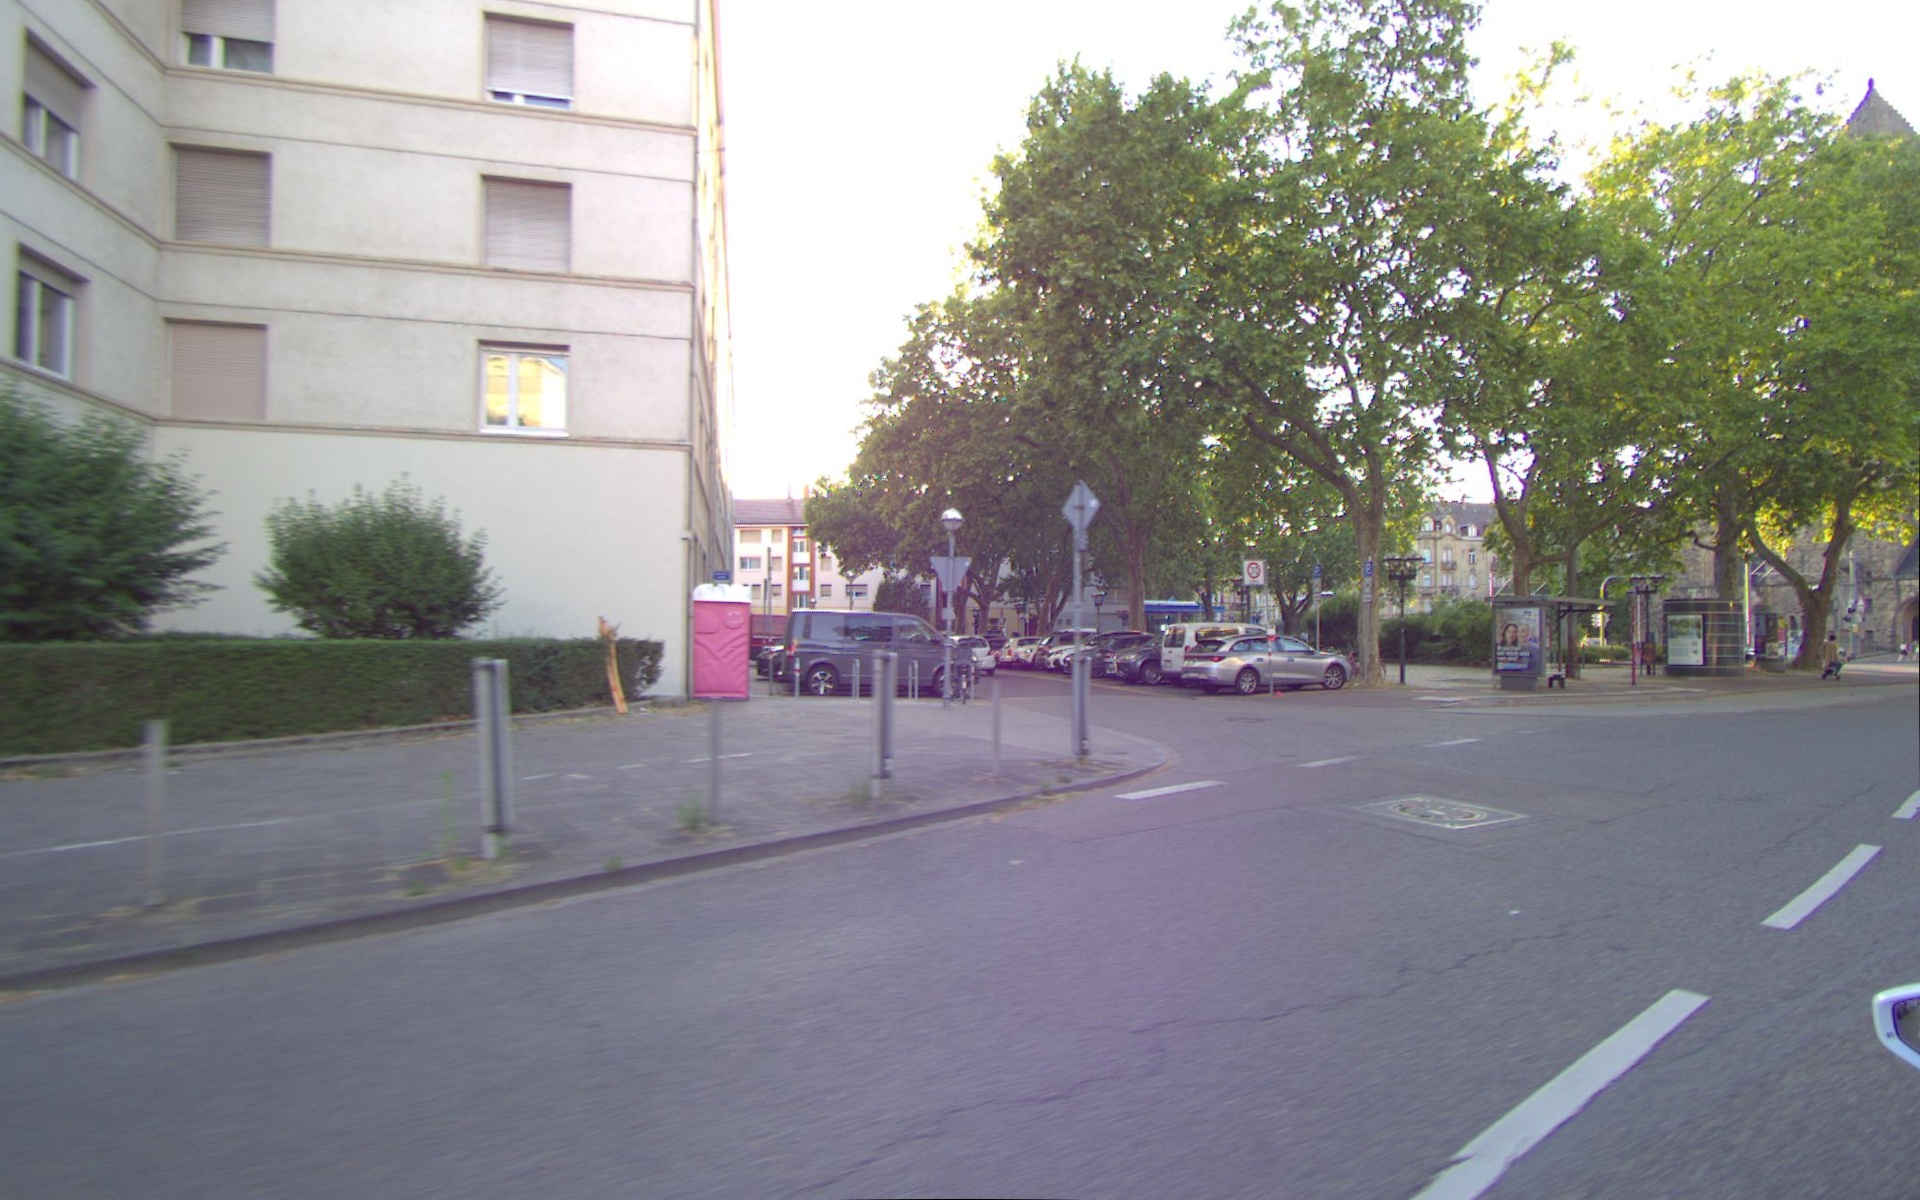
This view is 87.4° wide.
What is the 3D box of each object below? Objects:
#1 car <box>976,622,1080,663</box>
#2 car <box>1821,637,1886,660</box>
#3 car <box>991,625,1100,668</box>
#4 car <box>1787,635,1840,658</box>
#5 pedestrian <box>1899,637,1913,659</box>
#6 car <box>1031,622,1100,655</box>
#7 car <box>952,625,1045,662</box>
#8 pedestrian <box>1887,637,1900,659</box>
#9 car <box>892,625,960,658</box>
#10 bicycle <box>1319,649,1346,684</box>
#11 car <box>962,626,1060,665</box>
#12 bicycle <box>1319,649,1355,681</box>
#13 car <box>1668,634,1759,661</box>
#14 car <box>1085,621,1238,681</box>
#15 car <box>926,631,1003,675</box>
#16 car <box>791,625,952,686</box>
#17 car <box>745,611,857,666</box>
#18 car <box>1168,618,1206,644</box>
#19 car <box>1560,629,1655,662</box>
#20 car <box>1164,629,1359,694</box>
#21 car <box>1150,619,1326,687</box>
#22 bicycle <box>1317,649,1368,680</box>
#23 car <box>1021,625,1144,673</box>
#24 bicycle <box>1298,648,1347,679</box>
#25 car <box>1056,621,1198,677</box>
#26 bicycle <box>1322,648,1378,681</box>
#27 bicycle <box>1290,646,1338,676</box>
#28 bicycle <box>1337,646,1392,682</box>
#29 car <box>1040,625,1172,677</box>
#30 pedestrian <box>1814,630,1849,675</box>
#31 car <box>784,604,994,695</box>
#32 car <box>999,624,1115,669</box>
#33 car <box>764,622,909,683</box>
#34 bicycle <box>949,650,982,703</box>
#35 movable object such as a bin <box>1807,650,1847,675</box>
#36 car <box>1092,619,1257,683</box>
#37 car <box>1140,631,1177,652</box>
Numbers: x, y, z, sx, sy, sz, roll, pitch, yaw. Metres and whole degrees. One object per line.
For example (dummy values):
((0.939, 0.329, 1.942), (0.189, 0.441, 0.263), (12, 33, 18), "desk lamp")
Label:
((3.258, 2.036, 48.428), (4.557, 1.865, 2.077), (0, -2, -17), "car")
((74.361, 4.008, 83.651), (1.684, 1.829, 3.796), (1, -2, -14), "car")
((3.885, 2.094, 46.036), (4.557, 1.865, 2.077), (0, -2, -17), "car")
((74.710, 4.055, 87.982), (3.431, 1.935, 1.710), (1, -2, -9), "car")
((69.134, 3.488, 73.421), (0.541, 1.605, 0.554), (1, -1, -25), "pedestrian")
((7.870, 2.856, 75.025), (4.764, 2.322, 1.995), (2, -2, -14), "car")
((2.033, 2.300, 53.893), (4.557, 1.865, 2.077), (0, -2, -17), "car")
((68.800, 3.531, 74.010), (0.541, 1.605, 0.554), (1, -1, -25), "pedestrian")
((-2.519, 3.082, 75.003), (4.762, 2.370, 1.996), (2, -2, -13), "car")
((11.155, 1.978, 30.140), (0.387, 0.981, 1.505), (0, -2, 6), "bicycle")
((2.573, 2.286, 51.006), (4.557, 1.865, 2.077), (0, -2, -17), "car")
((11.962, 2.047, 31.845), (1.491, 0.981, 0.390), (2, -2, -39), "bicycle")
((47.838, 2.992, 63.870), (1.977, 1.672, 4.232), (1, -2, -30), "car")
((6.644, 1.653, 33.313), (4.552, 1.865, 2.080), (0, -2, -14), "car")
((0.113, 1.967, 37.911), (1.967, 1.539, 3.988), (1, -2, -15), "car")
((-2.545, 1.569, 28.429), (4.265, 1.616, 2.044), (2, -2, -14), "car")
((-7.700, 1.872, 48.575), (5.194, 2.536, 1.996), (2, -2, -13), "car")
((20.923, 2.852, 92.729), (1.897, 2.289, 4.331), (1, -2, -10), "car")
((38.407, 2.658, 59.643), (4.549, 1.865, 2.081), (0, -2, -11), "car")
((7.650, 1.510, 25.520), (4.560, 1.501, 1.817), (0, -2, -20), "car")
((7.951, 1.478, 28.795), (4.552, 1.824, 1.820), (0, -2, -14), "car")
((11.946, 2.013, 31.396), (1.476, 0.981, 0.394), (0, -2, -8), "bicycle")
((4.983, 1.957, 40.966), (4.555, 1.865, 2.078), (0, -2, -16), "car")
((11.690, 2.057, 32.423), (1.476, 0.981, 0.394), (0, -2, -8), "bicycle")
((5.919, 1.720, 35.793), (4.552, 1.865, 2.080), (0, -2, -14), "car")
((12.043, 1.986, 31.008), (1.613, 0.981, 0.408), (0, -2, -8), "bicycle")
((11.605, 2.000, 32.913), (1.476, 0.981, 0.394), (0, -2, -8), "bicycle")
((12.216, 1.931, 30.341), (1.564, 1.088, 0.402), (0, -2, -8), "bicycle")
((5.527, 1.909, 38.343), (4.551, 1.865, 2.080), (0, -2, -13), "car")
((32.471, 1.958, 37.440), (0.675, 1.650, 0.737), (1, -2, -21), "pedestrian")
((-1.736, 1.187, 24.017), (4.762, 1.999, 1.996), (2, -2, -13), "car")
((4.183, 1.998, 43.600), (4.556, 1.865, 2.078), (0, -2, -17), "car")
((-3.865, 1.640, 31.268), (4.265, 1.773, 1.926), (2, -2, -14), "car")
((0.102, 1.607, 21.475), (0.471, 1.056, 1.822), (0, -2, -7), "bicycle")
((31.798, 2.295, 36.829), (0.968, 0.902, 0.737), (1, -2, -21), "movable object such as a bin")
((6.573, 1.537, 30.957), (4.552, 1.865, 2.080), (0, -2, -14), "car")
((18.328, 3.829, 92.749), (1.897, 1.866, 4.331), (1, -2, -10), "car")
